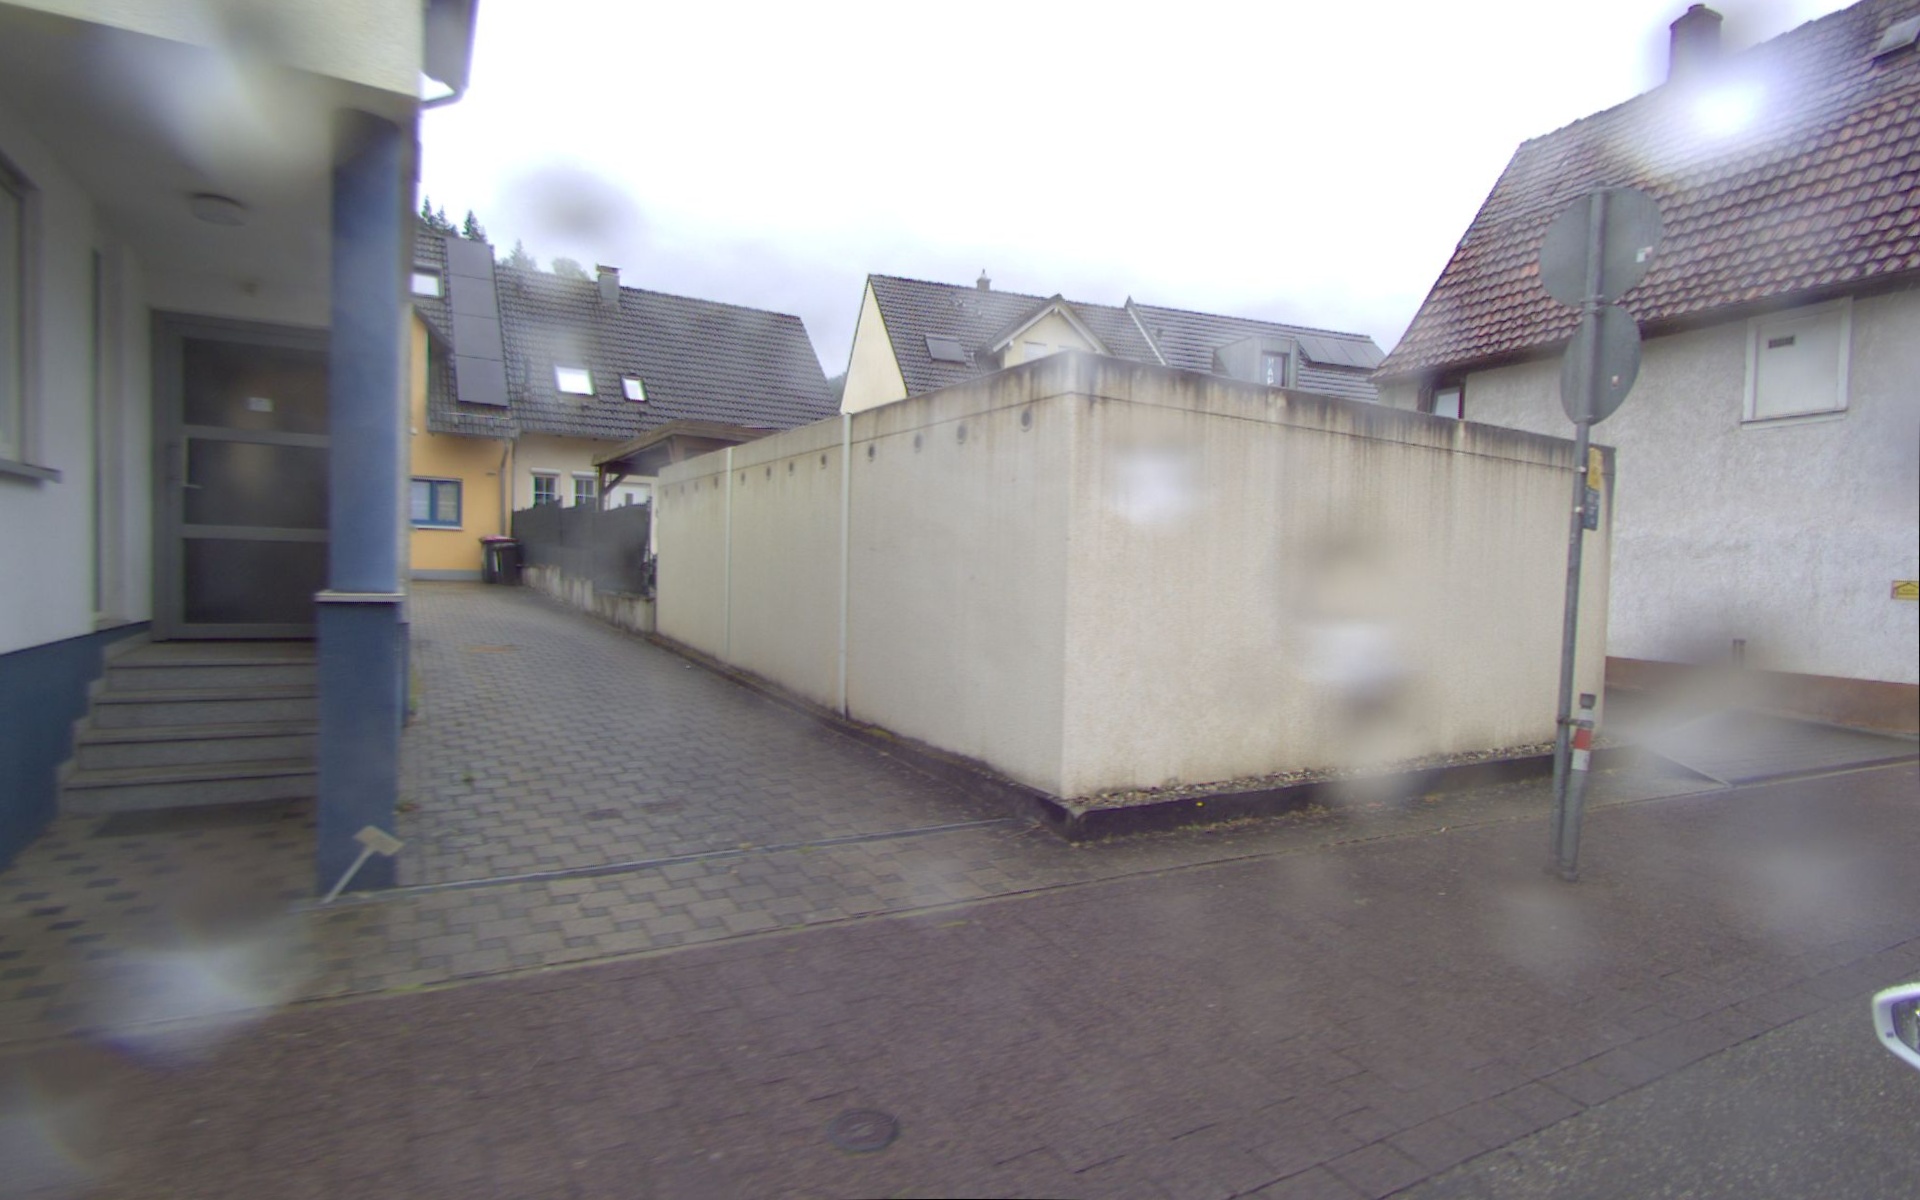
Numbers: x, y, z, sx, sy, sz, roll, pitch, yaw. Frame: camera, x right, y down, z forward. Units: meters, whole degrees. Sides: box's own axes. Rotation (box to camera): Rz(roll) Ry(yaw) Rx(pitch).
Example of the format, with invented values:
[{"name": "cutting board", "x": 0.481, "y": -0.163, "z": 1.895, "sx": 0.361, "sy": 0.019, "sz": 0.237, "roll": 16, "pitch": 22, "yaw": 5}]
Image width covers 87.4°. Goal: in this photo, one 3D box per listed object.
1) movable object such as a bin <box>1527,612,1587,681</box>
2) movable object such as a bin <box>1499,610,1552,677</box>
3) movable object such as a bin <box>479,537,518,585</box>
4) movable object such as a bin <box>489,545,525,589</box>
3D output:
[{"name": "movable object such as a bin", "x": 8.770, "y": 0.673, "z": 14.764, "sx": 0.547, "sy": 0.963, "sz": 0.486, "roll": 0, "pitch": 4, "yaw": -27}, {"name": "movable object such as a bin", "x": 8.557, "y": 0.657, "z": 15.211, "sx": 0.501, "sy": 0.963, "sz": 0.448, "roll": 0, "pitch": 4, "yaw": -27}, {"name": "movable object such as a bin", "x": -10.638, "y": -0.890, "z": 23.144, "sx": 0.748, "sy": 1.087, "sz": 0.607, "roll": 1, "pitch": 1, "yaw": -30}, {"name": "movable object such as a bin", "x": -10.148, "y": -0.735, "z": 22.502, "sx": 0.681, "sy": 0.944, "sz": 0.608, "roll": 1, "pitch": 1, "yaw": -30}]
